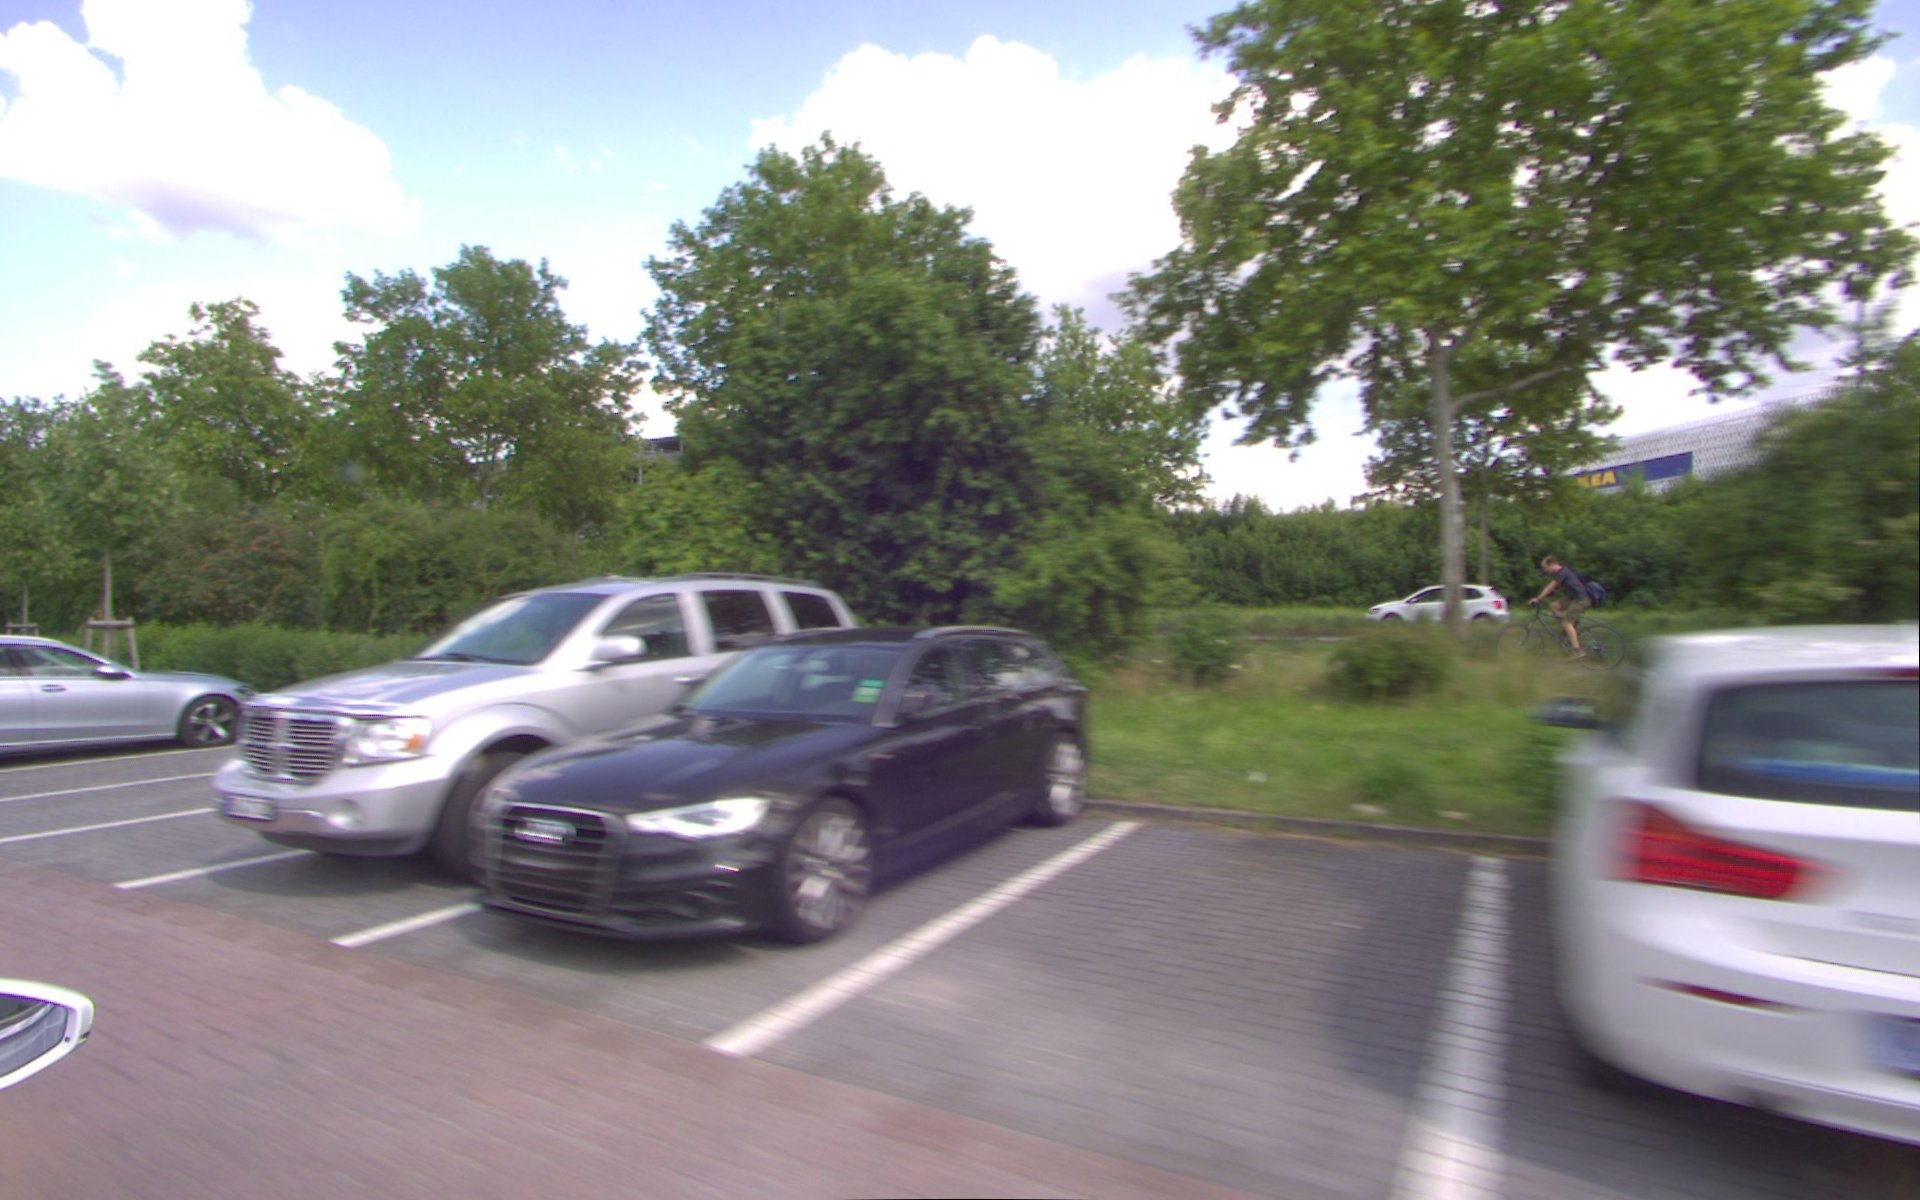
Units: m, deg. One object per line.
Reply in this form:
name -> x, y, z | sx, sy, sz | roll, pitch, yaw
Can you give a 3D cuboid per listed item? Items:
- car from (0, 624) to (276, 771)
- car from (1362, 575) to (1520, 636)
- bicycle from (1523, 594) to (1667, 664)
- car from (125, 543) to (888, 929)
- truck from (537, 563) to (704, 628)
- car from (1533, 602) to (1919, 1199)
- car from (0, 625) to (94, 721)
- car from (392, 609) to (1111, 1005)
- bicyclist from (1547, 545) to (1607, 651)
car -> -10.879, 1.087, 11.574 | 1.757, 1.524, 4.634 | -1, 0, 29
car -> 14.362, 0.227, 29.980 | 4.118, 1.568, 1.845 | -3, -4, 29
bicycle -> 9.823, 0.465, 15.565 | 1.843, 1.050, 0.525 | -1, -3, 30
car -> -2.748, 0.679, 7.572 | 1.960, 1.867, 5.126 | -1, 0, 28
truck -> -13.266, -0.125, 38.920 | 6.881, 2.374, 1.992 | -1, 0, 28
car -> 3.203, 0.794, 3.723 | 1.667, 1.529, 4.060 | -2, -1, 32
car -> -15.140, 1.077, 14.230 | 1.673, 1.398, 3.985 | -3, -3, 28
car -> -0.722, 0.812, 6.281 | 1.811, 1.470, 4.705 | -1, 0, 29
bicyclist -> 9.649, -0.004, 15.685 | 0.751, 1.612, 0.633 | -1, -2, 30
